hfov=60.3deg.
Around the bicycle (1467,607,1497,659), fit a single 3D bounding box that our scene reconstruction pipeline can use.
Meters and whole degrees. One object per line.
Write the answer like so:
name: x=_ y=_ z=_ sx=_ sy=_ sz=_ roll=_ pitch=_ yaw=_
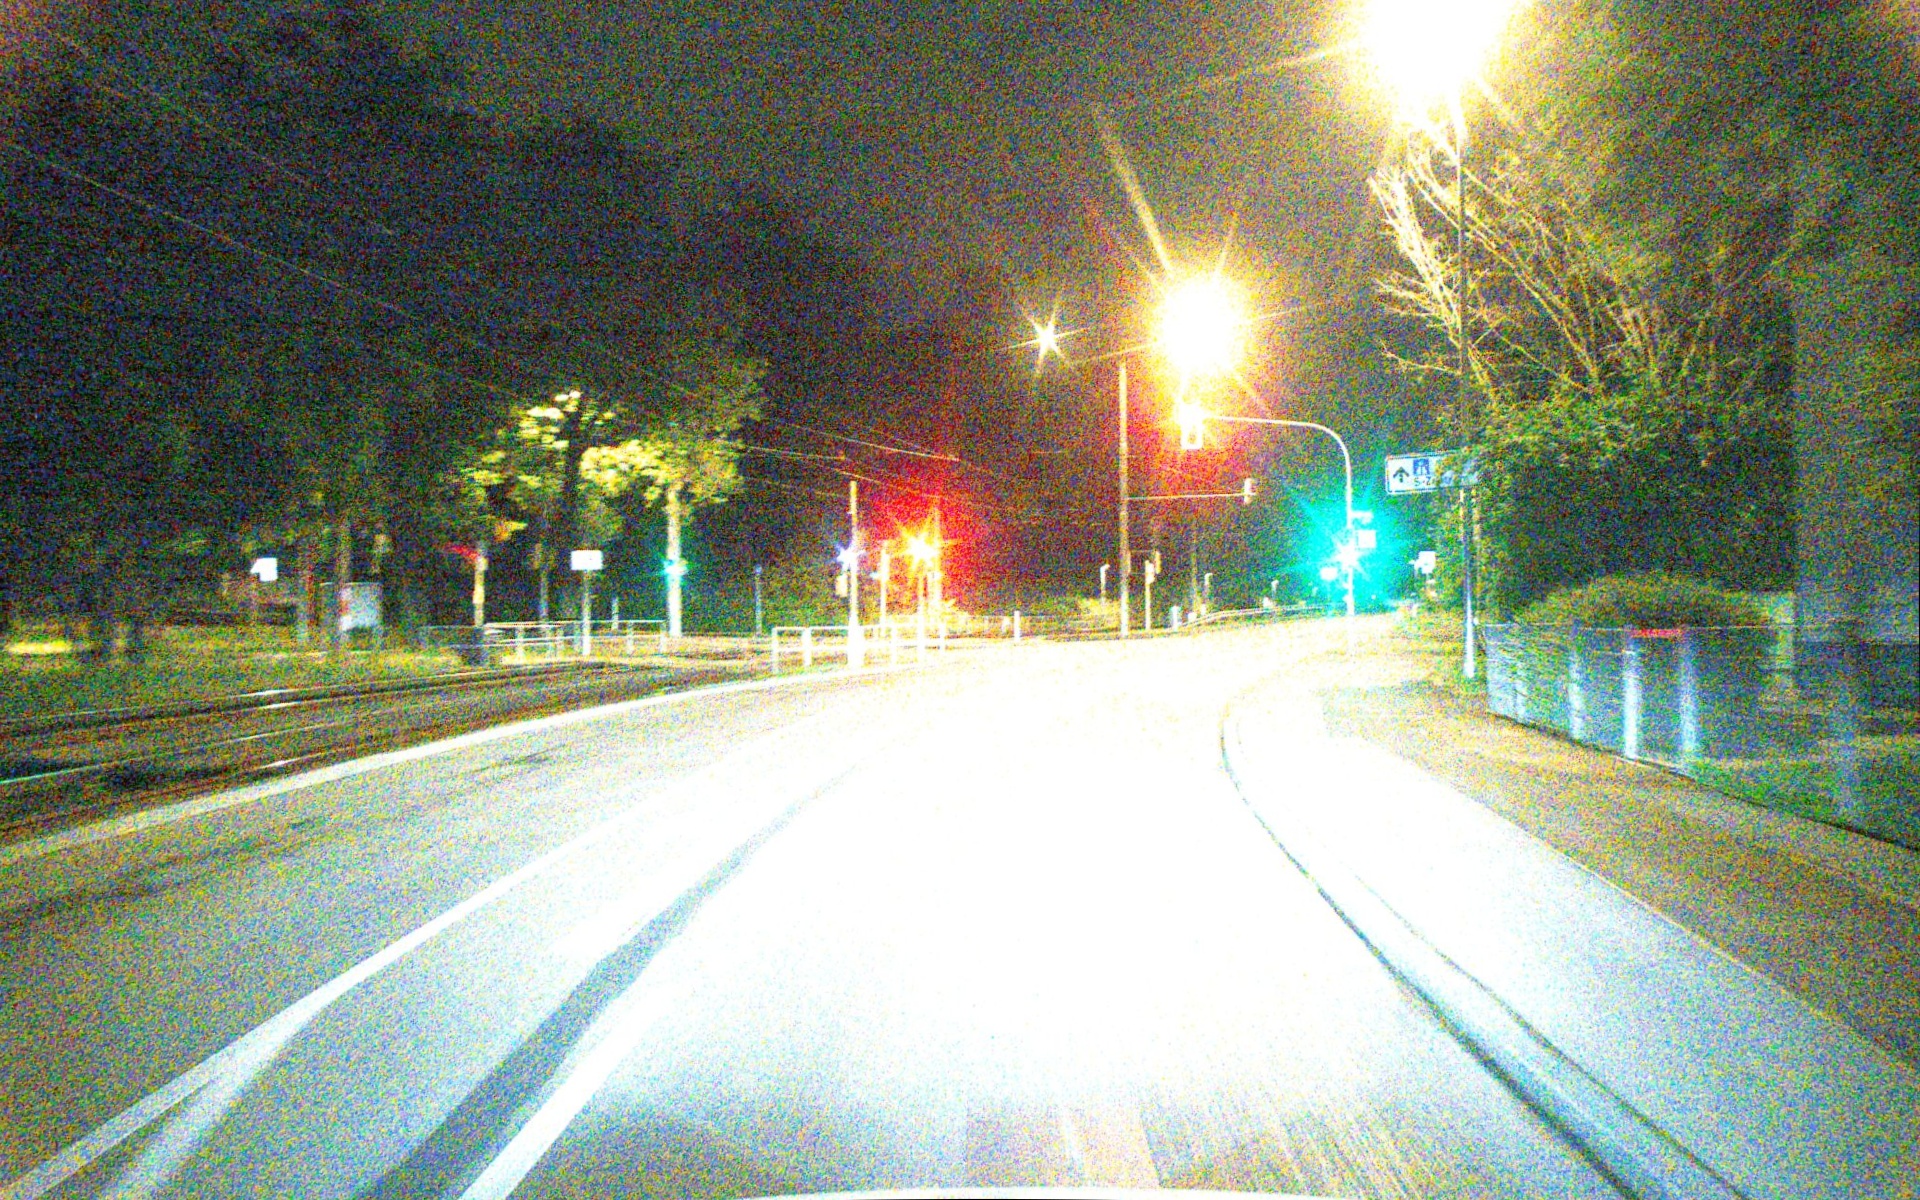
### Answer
bicycle: x=10.479 y=0.678 z=33.209 sx=0.289 sy=0.999 sz=1.946 roll=-1 pitch=-3 yaw=10
